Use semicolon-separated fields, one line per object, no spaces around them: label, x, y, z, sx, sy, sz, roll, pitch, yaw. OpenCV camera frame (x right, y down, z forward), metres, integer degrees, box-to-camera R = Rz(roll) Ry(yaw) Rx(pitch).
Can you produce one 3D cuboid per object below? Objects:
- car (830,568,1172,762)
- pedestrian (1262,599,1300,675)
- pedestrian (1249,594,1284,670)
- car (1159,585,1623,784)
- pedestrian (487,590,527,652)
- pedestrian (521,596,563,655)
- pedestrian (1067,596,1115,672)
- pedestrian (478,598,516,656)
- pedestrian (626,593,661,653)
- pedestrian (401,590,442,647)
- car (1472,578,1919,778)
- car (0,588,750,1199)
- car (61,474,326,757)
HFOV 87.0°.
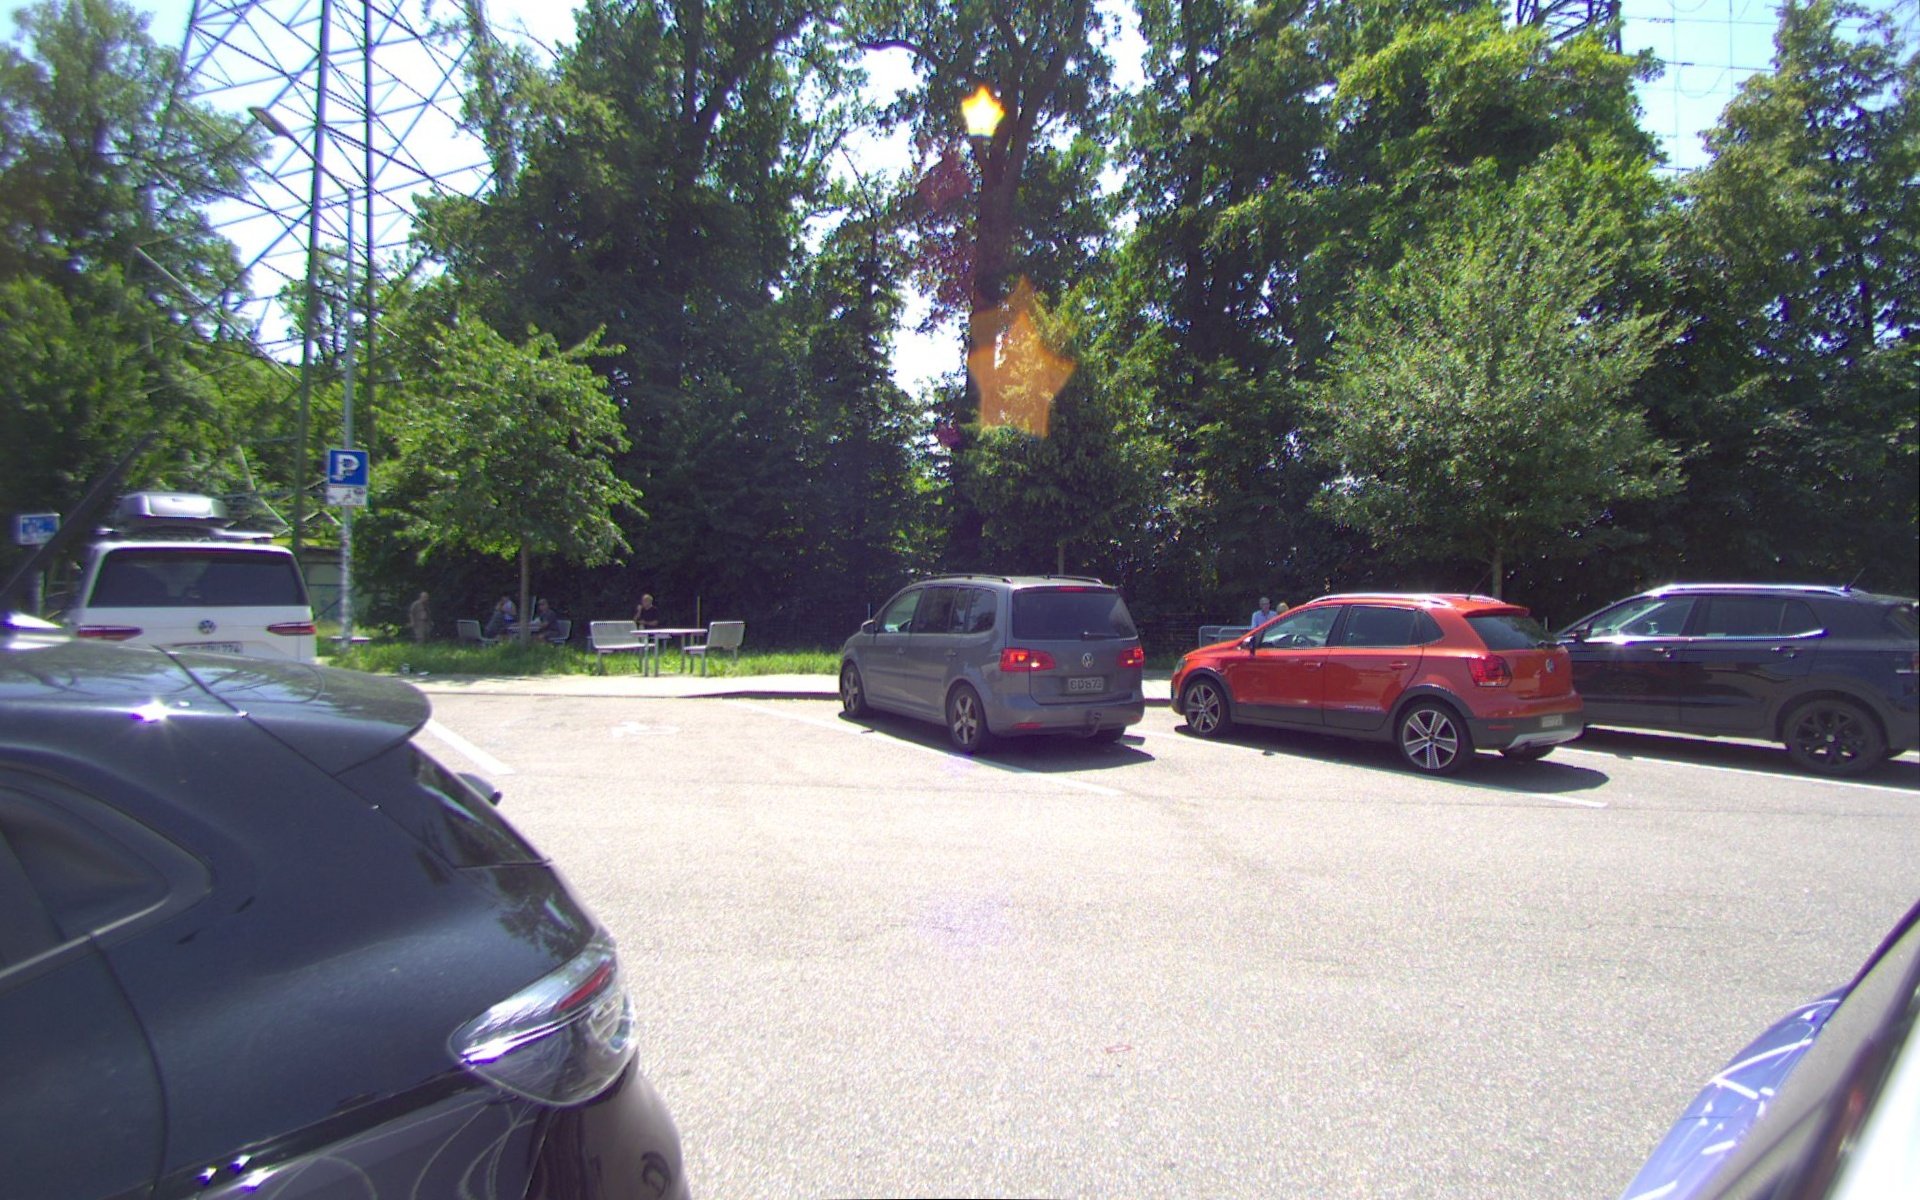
car;0.208;0.505;10.536;1.717;1.611;3.961;0;1;-30
pedestrian;5.670;0.645;17.879;0.495;1.316;0.491;1;-1;0
pedestrian;5.752;0.595;19.003;0.495;1.393;0.491;1;-1;0
car;3.844;0.610;9.634;1.604;1.476;3.810;0;1;-34
pedestrian;-10.965;0.496;24.494;0.722;1.478;0.669;1;-1;-39
pedestrian;-9.733;0.588;23.557;0.722;1.343;0.669;1;-1;-39
pedestrian;2.169;0.568;16.819;0.660;1.235;0.682;1;-2;-5
pedestrian;-10.452;0.604;22.859;0.630;1.287;0.579;1;-1;-39
pedestrian;-6.626;0.471;21.204;0.550;1.229;0.599;1;-1;-1
pedestrian;-13.628;0.462;25.597;0.603;1.391;0.700;0;-1;33
car;7.223;0.581;9.658;1.727;1.566;3.806;0;1;-39
car;-2.142;0.721;0.568;1.615;1.503;3.706;0;-1;44
car;-8.082;0.094;10.606;1.885;2.353;4.089;0;1;-40
